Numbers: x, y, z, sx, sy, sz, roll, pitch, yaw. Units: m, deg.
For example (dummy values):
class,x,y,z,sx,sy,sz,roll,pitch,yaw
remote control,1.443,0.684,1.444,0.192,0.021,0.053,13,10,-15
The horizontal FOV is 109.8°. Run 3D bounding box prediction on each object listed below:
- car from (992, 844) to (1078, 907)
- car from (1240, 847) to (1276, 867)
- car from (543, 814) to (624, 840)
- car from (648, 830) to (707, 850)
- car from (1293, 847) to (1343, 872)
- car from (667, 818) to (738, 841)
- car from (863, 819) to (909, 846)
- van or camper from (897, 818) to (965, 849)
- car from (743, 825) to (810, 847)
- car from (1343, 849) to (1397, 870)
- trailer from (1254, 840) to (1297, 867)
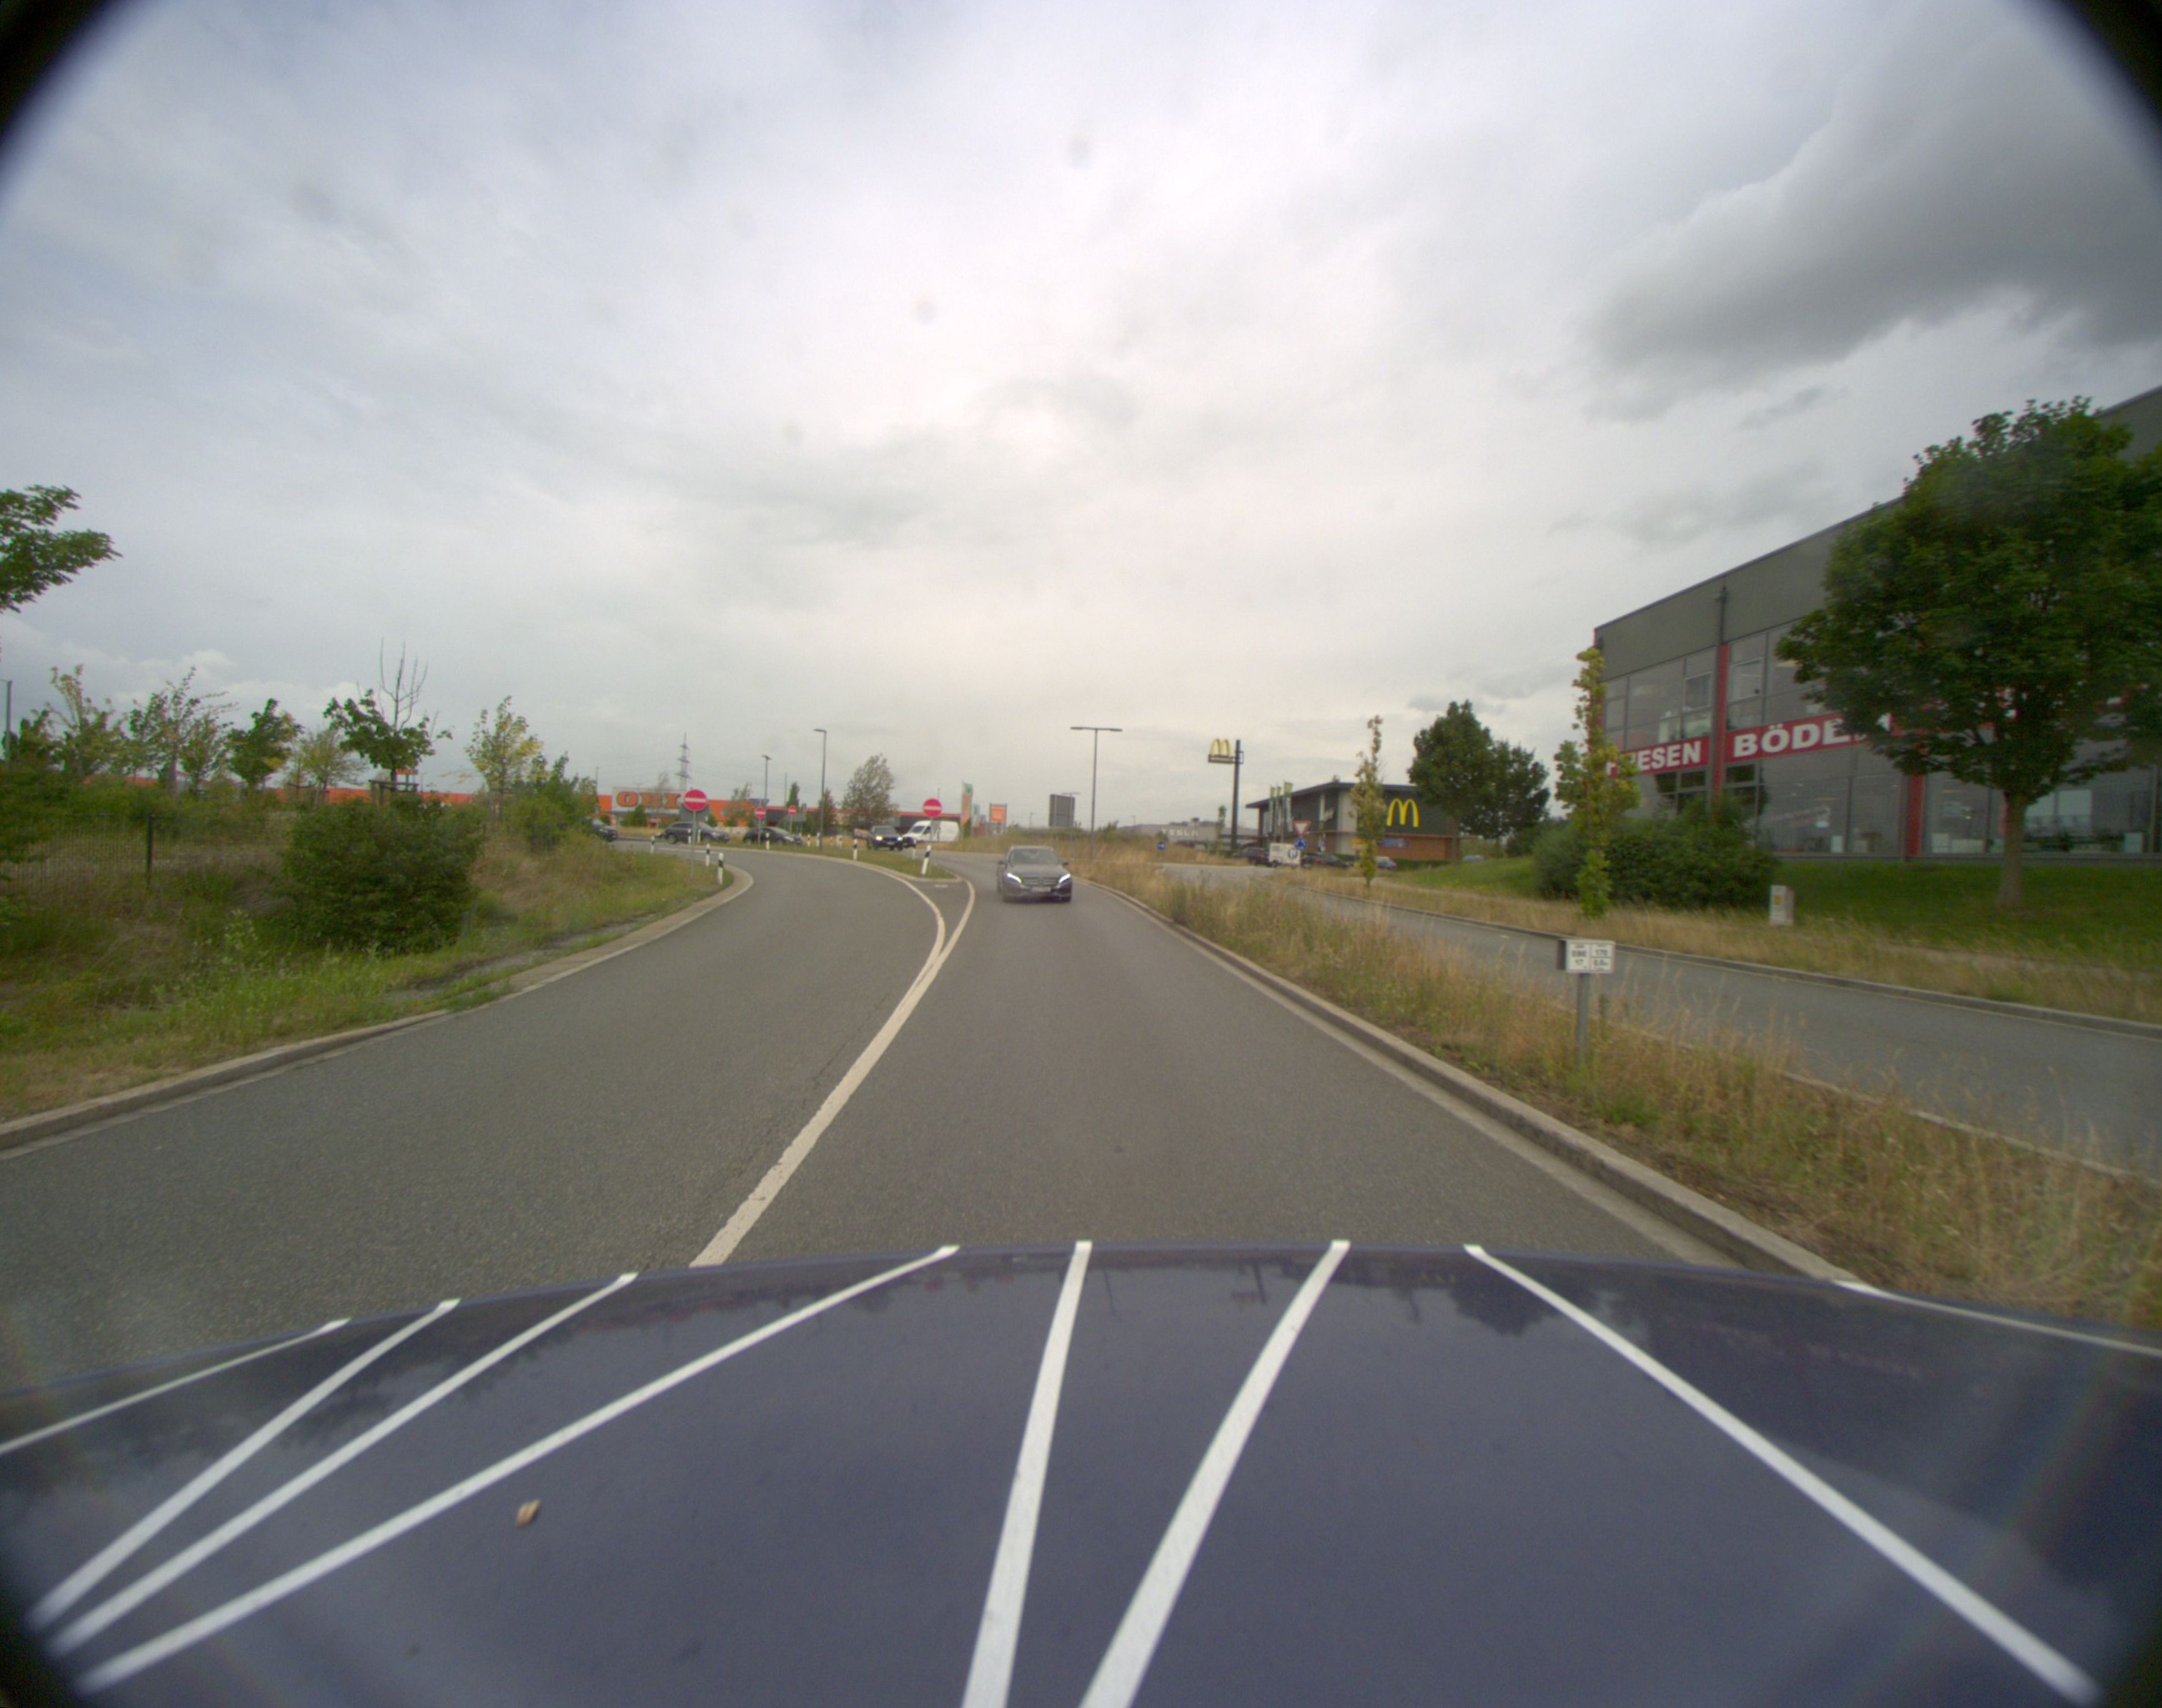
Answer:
class,x,y,z,sx,sy,sz,roll,pitch,yaw
car,-1.407,0.517,21.443,1.908,1.489,4.333,-1,2,-11
car,15.591,0.251,67.143,1.816,1.660,4.614,3,0,-3
car,-36.232,-1.962,55.444,4.743,1.712,1.721,1,2,-2
car,-34.551,-1.192,65.129,4.000,1.648,1.998,0,1,-7
car,16.658,0.425,53.357,3.777,1.451,1.639,3,6,-45
car,-27.619,-1.800,55.471,4.272,1.574,1.884,2,2,3
car,-13.293,-1.411,51.660,1.847,1.709,3.990,-1,0,-32
van or camper,-13.465,-1.816,68.459,2.327,2.635,6.057,2,1,34
car,-21.008,-1.236,52.472,4.134,1.362,1.846,2,2,21
car,25.129,0.494,66.132,4.023,1.649,1.892,1,2,-20
trailer,16.169,-0.084,63.306,1.813,2.079,4.141,3,1,-10
